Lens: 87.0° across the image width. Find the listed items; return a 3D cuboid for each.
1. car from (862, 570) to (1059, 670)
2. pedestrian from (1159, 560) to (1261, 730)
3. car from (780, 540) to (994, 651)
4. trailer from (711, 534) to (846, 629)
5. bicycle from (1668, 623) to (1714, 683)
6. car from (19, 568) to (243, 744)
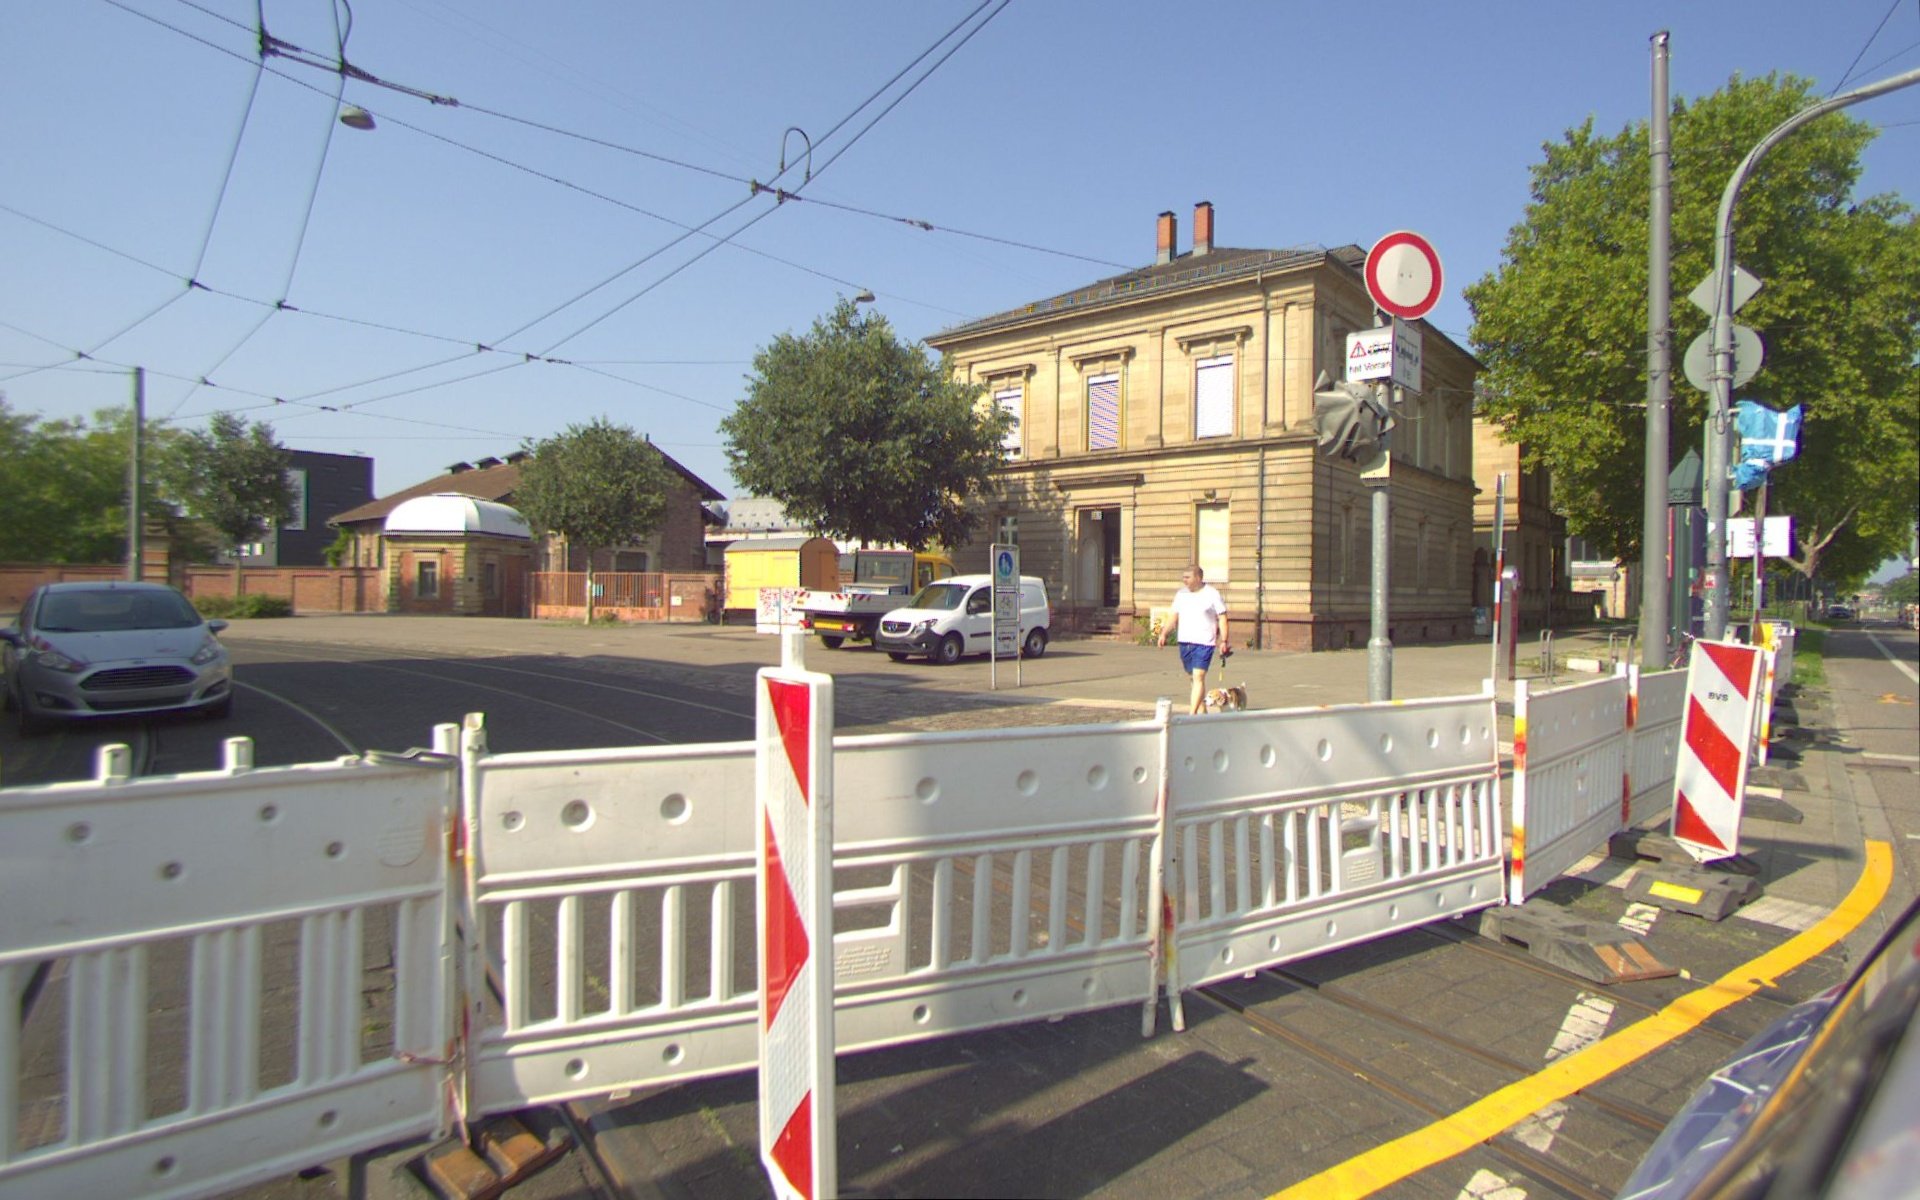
[{"bbox_3d":[0.095,0.320,21.485,1.903,1.804,4.161,2,4,43],"label":"car"},{"bbox_3d":[2.717,0.459,11.003,0.865,1.759,0.661,1,0,41],"label":"pedestrian"},{"bbox_3d":[-1.668,-0.109,25.183,2.254,2.453,5.411,1,0,39],"label":"car"},{"bbox_3d":[-6.309,-0.645,35.054,4.094,3.086,2.483,1,1,35],"label":"trailer"},{"bbox_3d":[13.617,0.964,18.840,0.538,1.019,1.547,2,1,41],"label":"bicycle"},{"bbox_3d":[-9.150,0.450,11.055,1.637,1.556,4.004,0,1,-43],"label":"car"}]
